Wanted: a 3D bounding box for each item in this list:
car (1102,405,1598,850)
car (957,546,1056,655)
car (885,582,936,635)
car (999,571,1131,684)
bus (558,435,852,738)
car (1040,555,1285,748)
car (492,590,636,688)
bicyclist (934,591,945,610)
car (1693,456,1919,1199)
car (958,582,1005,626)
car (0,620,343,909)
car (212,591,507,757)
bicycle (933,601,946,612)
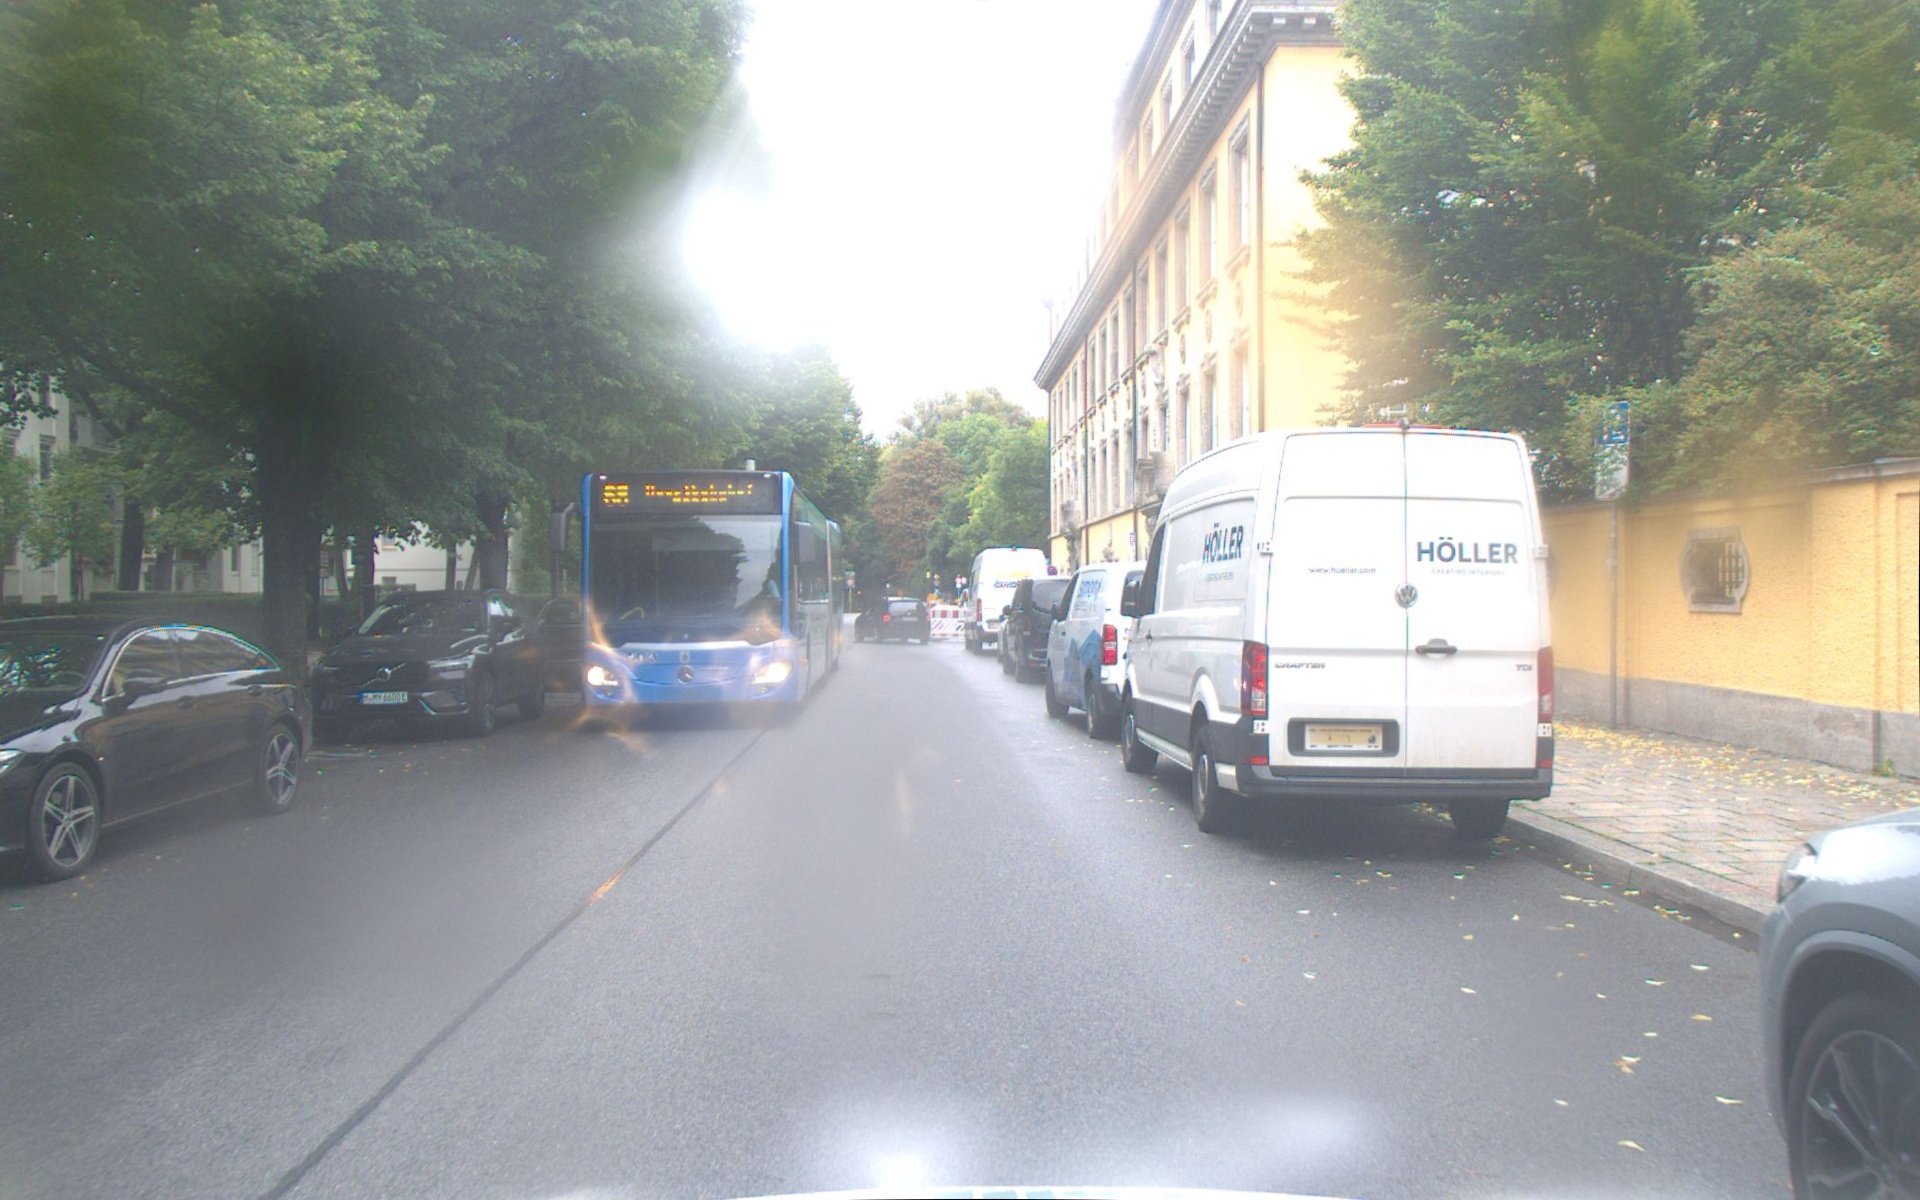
[{"bbox_3d":[2.490,0.185,12.366,2.053,2.531,5.736,-1,-1,-3],"label":"car"},{"bbox_3d":[1.164,0.025,45.222,2.014,2.720,7.608,-1,0,-3],"label":"car"},{"bbox_3d":[-1.568,0.277,52.979,1.545,1.611,4.043,-1,0,-1],"label":"car"},{"bbox_3d":[1.857,0.478,30.750,1.834,1.901,4.983,-1,0,-3],"label":"car"},{"bbox_3d":[-3.394,-0.024,27.388,2.802,3.296,18.415,-1,-1,-3],"label":"bus"},{"bbox_3d":[2.198,0.529,19.441,1.973,1.940,5.160,1,0,-3],"label":"car"},{"bbox_3d":[-7.082,0.663,29.992,1.748,1.625,4.581,-1,0,-3],"label":"car"},{"bbox_3d":[-1.666,0.063,134.520,0.668,1.530,0.899,-1,0,-10],"label":"bicyclist"},{"bbox_3d":[2.804,0.621,1.795,1.821,1.772,4.600,1,0,-2],"label":"car"},{"bbox_3d":[0.876,0.174,69.857,1.705,1.780,4.353,-1,-1,-3],"label":"car"},{"bbox_3d":[-5.657,0.867,10.267,1.752,1.463,4.552,-1,-1,3],"label":"car"},{"bbox_3d":[-5.973,0.694,16.942,1.754,1.479,3.946,-1,-1,-3],"label":"car"},{"bbox_3d":[-1.681,0.513,134.635,0.667,0.844,2.104,0,-1,-10],"label":"bicycle"}]
